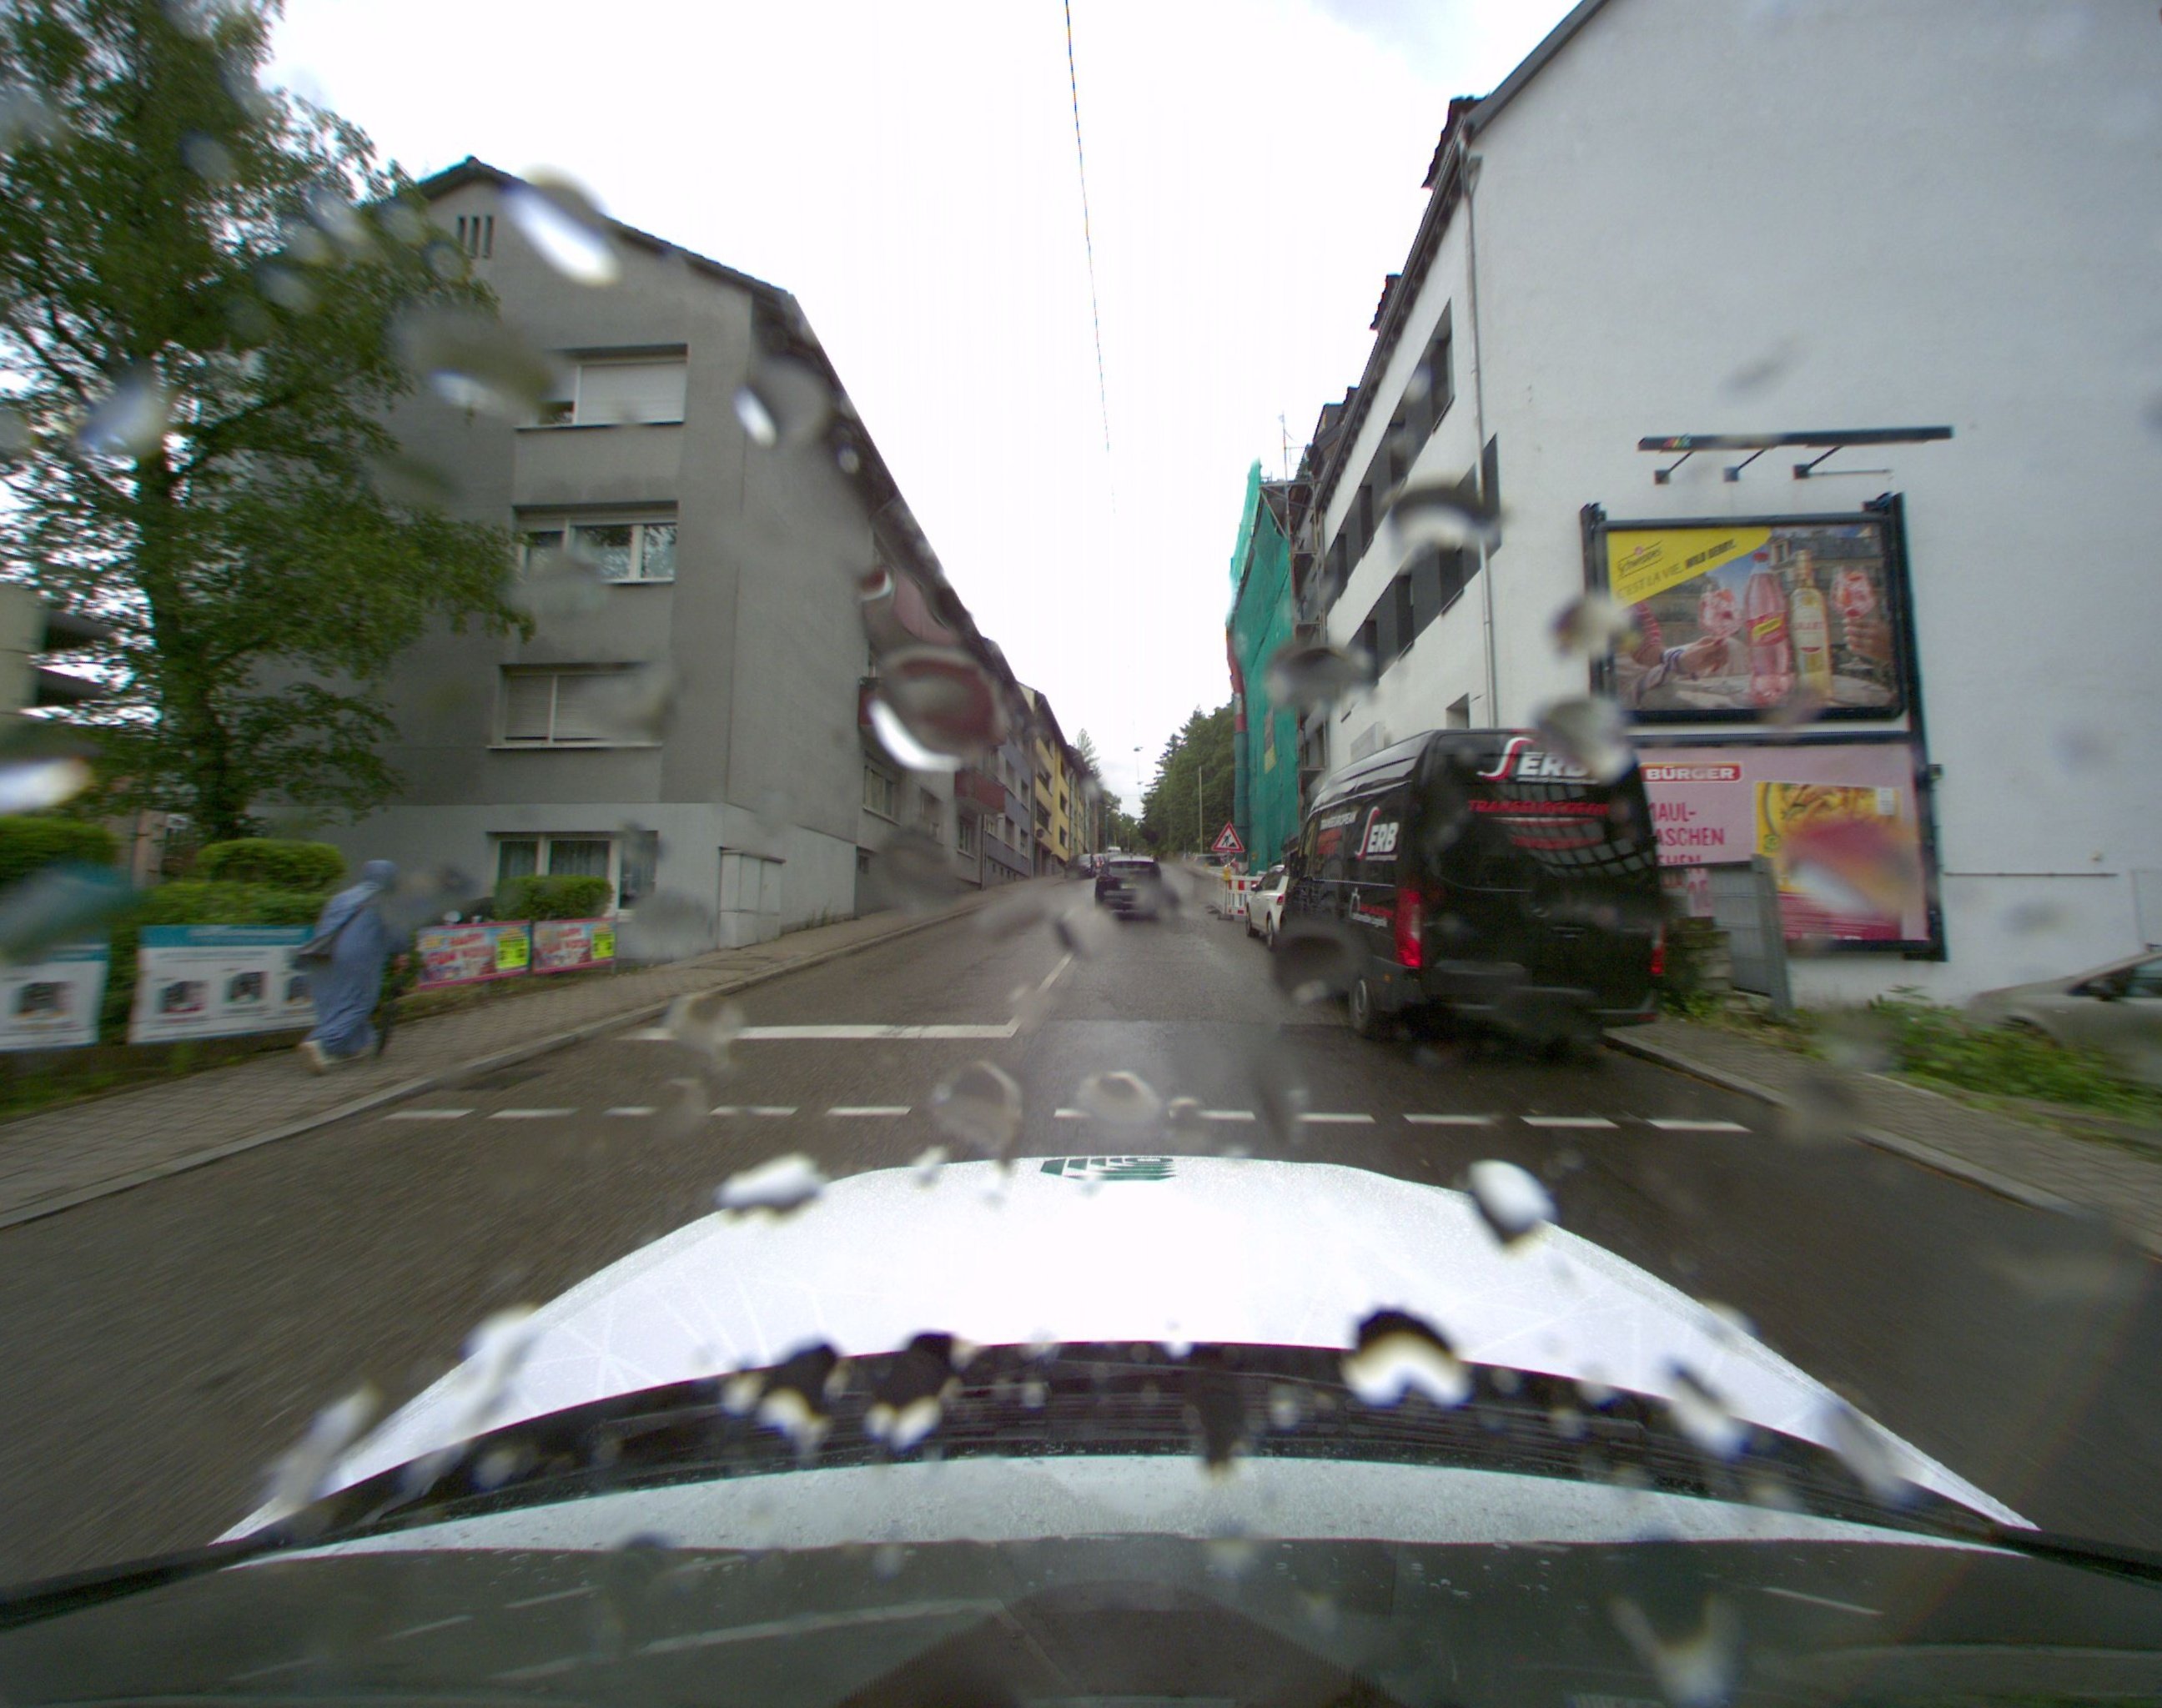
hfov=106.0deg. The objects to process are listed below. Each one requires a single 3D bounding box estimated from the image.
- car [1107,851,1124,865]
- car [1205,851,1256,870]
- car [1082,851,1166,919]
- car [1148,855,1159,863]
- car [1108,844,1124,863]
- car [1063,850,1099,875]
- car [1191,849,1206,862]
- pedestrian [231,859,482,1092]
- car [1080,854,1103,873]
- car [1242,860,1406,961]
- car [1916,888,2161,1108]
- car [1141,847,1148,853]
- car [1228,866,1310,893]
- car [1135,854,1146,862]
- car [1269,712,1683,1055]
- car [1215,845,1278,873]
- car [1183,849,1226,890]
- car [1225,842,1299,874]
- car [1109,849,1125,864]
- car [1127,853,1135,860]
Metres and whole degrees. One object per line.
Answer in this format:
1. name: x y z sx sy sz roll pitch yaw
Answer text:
1. car: 4.161 0.419 97.173 1.982 1.585 4.309 0 1 3
2. car: 13.192 0.547 72.076 4.182 1.496 1.761 2 0 2
3. car: 1.197 0.737 21.767 1.984 1.559 4.005 1 1 4
4. car: 15.647 1.074 175.169 2.067 1.559 4.001 0 0 1
5. car: 4.844 -0.059 111.966 1.982 2.474 5.789 0 1 3
6. car: 0.056 0.571 56.642 1.983 1.650 4.450 0 1 7
7. car: 13.734 0.162 95.542 1.624 1.530 4.008 1 0 7
8. pedestrian: -5.487 0.866 6.268 0.866 1.540 1.088 1 5 1
9. car: 0.875 0.726 67.029 1.721 1.472 3.494 0 1 3
10. car: 4.232 0.900 14.916 1.984 1.512 4.342 1 0 4
11. car: 8.580 1.110 5.701 1.555 1.484 4.005 1 1 4
12. car: 19.920 -1.295 255.510 1.983 1.560 4.007 -1 -2 6
13. car: 10.595 1.436 46.162 4.250 1.466 1.895 -1 0 2
14. car: 12.293 0.888 168.204 2.066 1.559 4.003 0 0 3
15. car: 3.494 0.280 8.741 1.984 2.414 5.842 1 -2 4
16. car: 11.620 0.337 57.323 3.948 1.530 1.692 -6 0 0
17. car: 5.846 0.682 38.904 1.633 1.762 4.004 1 1 3
18. car: 11.640 0.234 52.647 4.324 1.529 1.878 -7 0 3
19. car: 4.630 0.287 103.705 1.982 1.755 4.484 0 1 3
20. car: 12.097 0.548 196.652 2.066 1.559 4.004 0 0 3
